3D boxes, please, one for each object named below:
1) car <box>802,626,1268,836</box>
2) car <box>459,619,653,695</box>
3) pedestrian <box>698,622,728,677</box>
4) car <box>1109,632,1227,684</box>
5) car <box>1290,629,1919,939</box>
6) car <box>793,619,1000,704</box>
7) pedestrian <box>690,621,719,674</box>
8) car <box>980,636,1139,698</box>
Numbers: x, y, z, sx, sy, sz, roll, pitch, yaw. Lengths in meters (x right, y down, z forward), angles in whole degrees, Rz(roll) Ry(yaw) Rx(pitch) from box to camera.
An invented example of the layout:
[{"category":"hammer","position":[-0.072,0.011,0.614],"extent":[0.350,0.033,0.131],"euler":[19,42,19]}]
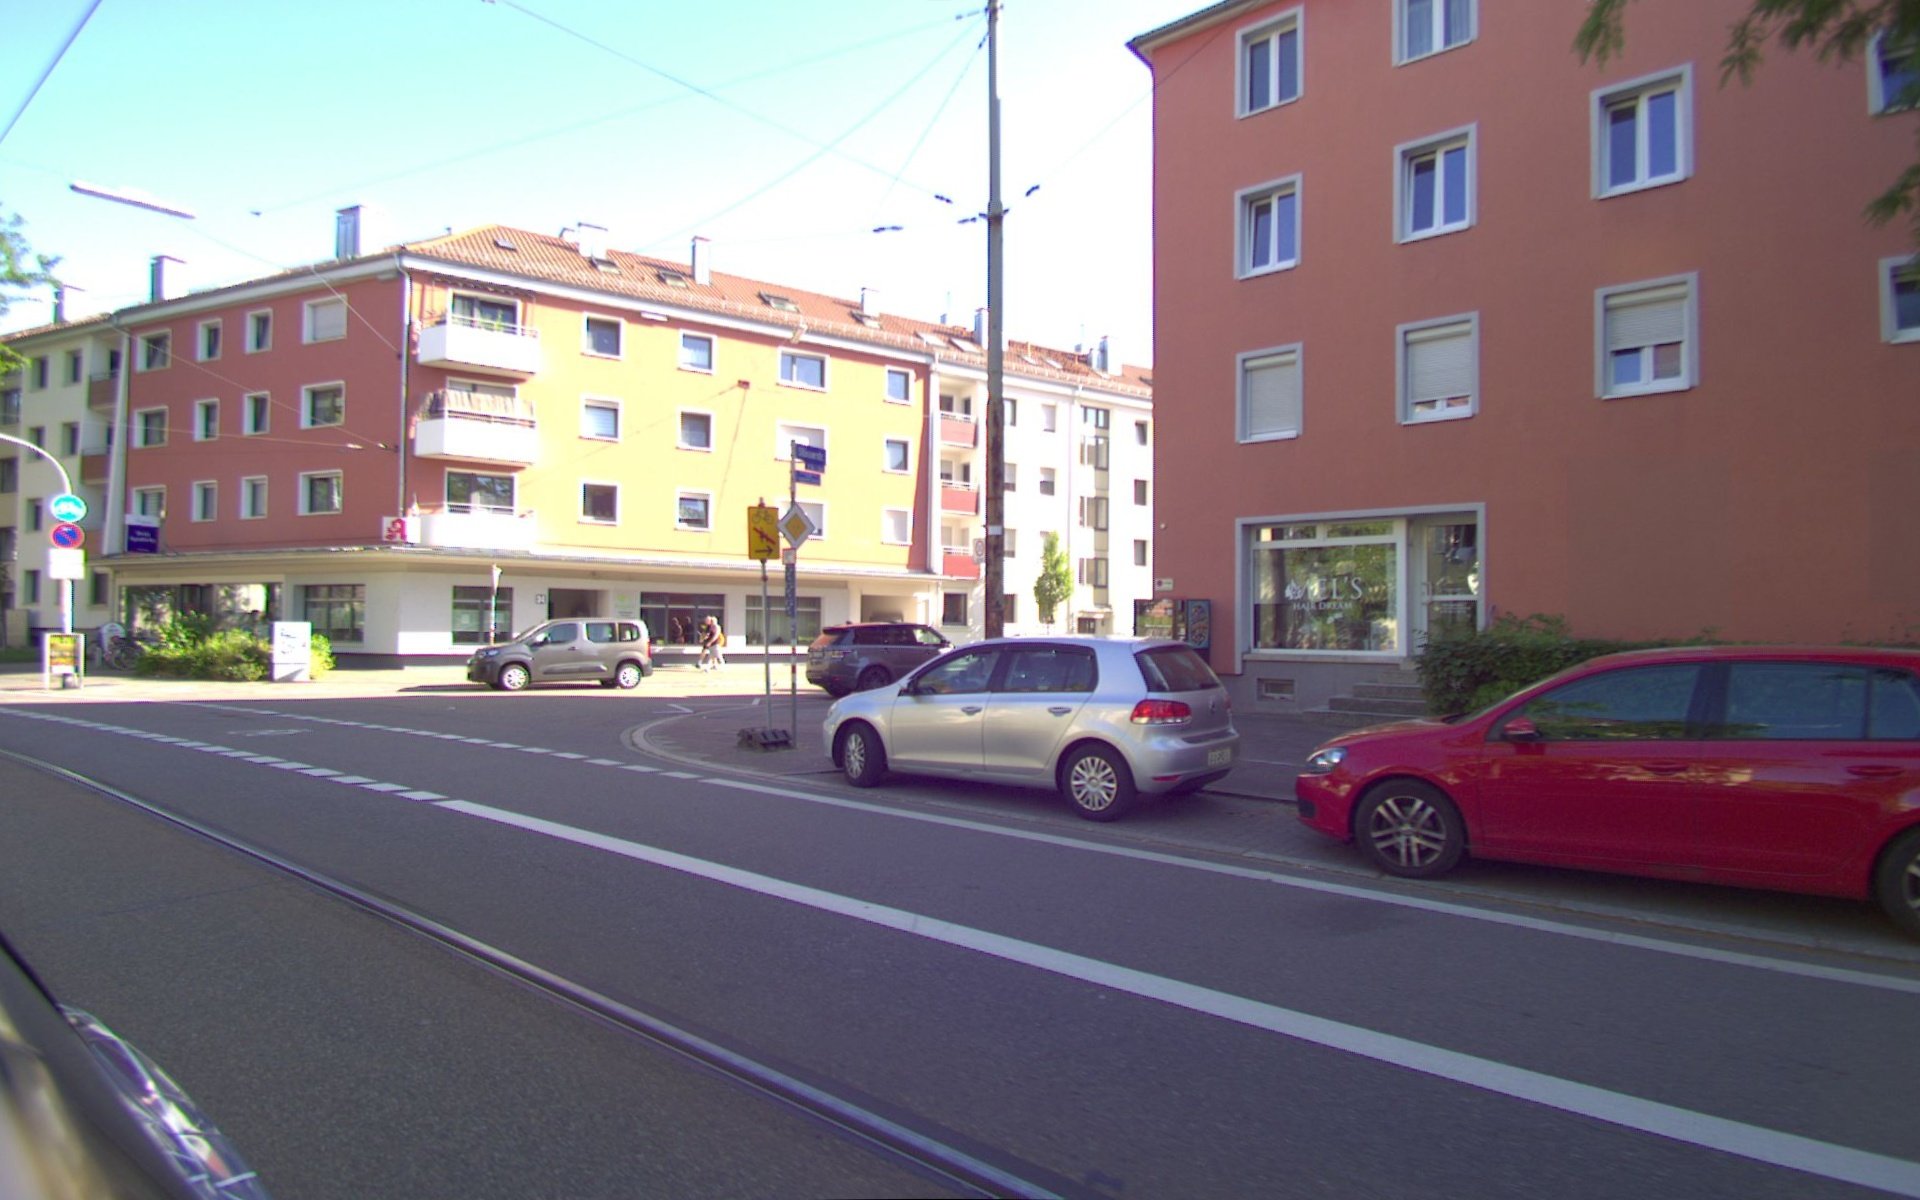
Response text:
[{"category":"car","position":[0.540,1.006,9.272],"extent":[4.090,1.517,1.558],"euler":[-1,-2,37]},{"category":"car","position":[-10.181,1.438,25.634],"extent":[4.217,1.793,1.793],"euler":[3,-3,-35]},{"category":"pedestrian","position":[-8.177,1.638,33.467],"extent":[0.791,1.779,0.509],"euler":[2,-3,-32]},{"category":"car","position":[7.653,2.123,37.085],"extent":[4.217,1.793,1.793],"euler":[3,-3,-35]},{"category":"car","position":[4.285,0.926,6.117],"extent":[4.088,1.465,1.559],"euler":[-1,-1,36]},{"category":"car","position":[-1.427,1.412,23.388],"extent":[4.415,1.793,1.794],"euler":[2,-3,-31]},{"category":"pedestrian","position":[-8.652,1.606,34.243],"extent":[0.791,1.779,0.509],"euler":[2,-3,-32]},{"category":"car","position":[2.640,1.730,26.603],"extent":[3.942,1.518,1.690],"euler":[2,-3,-32]}]
